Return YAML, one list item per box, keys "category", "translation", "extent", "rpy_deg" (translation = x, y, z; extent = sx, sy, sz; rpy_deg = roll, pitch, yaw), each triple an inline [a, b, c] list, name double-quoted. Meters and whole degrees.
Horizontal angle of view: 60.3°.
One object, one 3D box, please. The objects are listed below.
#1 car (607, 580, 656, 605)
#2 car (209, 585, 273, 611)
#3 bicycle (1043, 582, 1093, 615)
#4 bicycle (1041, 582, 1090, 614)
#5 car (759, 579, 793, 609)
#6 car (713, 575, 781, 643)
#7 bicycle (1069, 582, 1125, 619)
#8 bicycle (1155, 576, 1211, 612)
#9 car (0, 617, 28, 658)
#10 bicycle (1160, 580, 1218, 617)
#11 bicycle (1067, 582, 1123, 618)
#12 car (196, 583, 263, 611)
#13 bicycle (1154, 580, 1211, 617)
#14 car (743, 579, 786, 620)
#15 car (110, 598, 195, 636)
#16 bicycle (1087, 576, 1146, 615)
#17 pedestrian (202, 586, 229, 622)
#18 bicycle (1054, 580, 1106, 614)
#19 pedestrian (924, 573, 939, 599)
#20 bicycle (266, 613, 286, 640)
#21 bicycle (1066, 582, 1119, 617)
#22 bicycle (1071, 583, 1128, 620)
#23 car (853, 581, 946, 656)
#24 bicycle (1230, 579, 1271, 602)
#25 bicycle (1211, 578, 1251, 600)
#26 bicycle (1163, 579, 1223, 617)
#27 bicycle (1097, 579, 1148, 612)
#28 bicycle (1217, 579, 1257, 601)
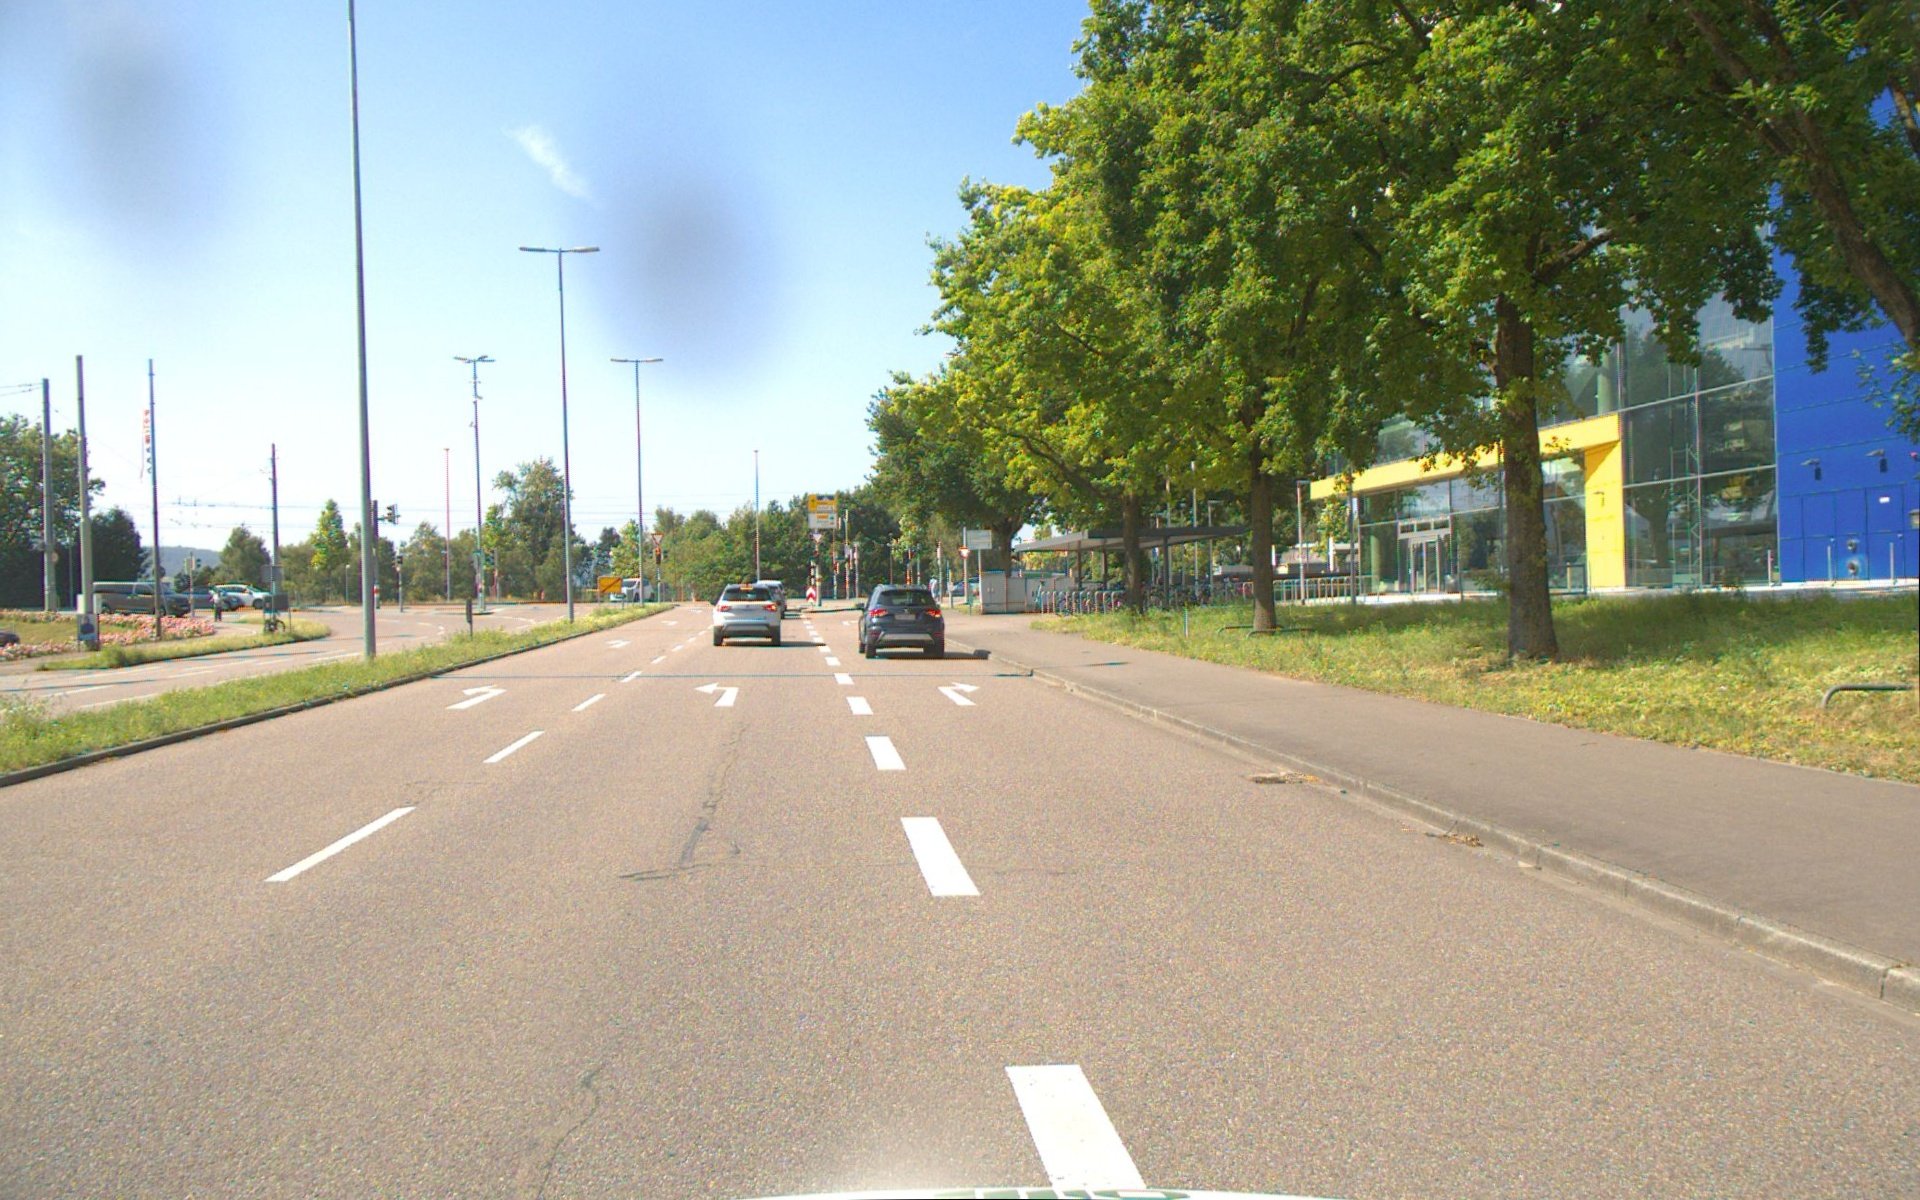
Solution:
- category: "car"
  translation: [-21.988, -0.499, 110.795]
  extent: [1.755, 1.574, 4.090]
  rpy_deg: [-1, 0, 11]
- category: "car"
  translation: [-44.005, -0.113, 101.289]
  extent: [3.283, 1.526, 1.406]
  rpy_deg: [-1, -1, -11]
- category: "bicycle"
  translation: [3.927, -0.052, 60.117]
  extent: [1.725, 1.115, 0.451]
  rpy_deg: [-2, 1, -7]
- category: "bicycle"
  translation: [3.899, -0.060, 61.119]
  extent: [1.725, 1.115, 0.451]
  rpy_deg: [-2, 1, -7]
- category: "car"
  translation: [-9.507, -0.321, 85.665]
  extent: [1.708, 1.473, 4.383]
  rpy_deg: [-1, 1, -6]
- category: "car"
  translation: [-5.447, 0.194, 42.637]
  extent: [1.599, 1.524, 3.866]
  rpy_deg: [-1, 3, -5]
- category: "bicycle"
  translation: [4.455, 0.017, 53.723]
  extent: [1.725, 1.115, 0.451]
  rpy_deg: [-2, 1, -7]
- category: "bicycle"
  translation: [7.308, -0.197, 54.137]
  extent: [1.725, 1.115, 0.451]
  rpy_deg: [-2, 1, -7]
- category: "car"
  translation: [-39.959, 1.549, 66.270]
  extent: [4.108, 1.633, 1.821]
  rpy_deg: [-1, -1, -11]
- category: "bicycle"
  translation: [7.203, -0.051, 52.016]
  extent: [1.725, 1.115, 0.451]
  rpy_deg: [-2, 1, -7]
- category: "bicycle"
  translation: [4.427, 0.006, 54.293]
  extent: [1.725, 1.115, 0.451]
  rpy_deg: [-2, 1, -7]
- category: "car"
  translation: [-43.146, -0.159, 97.726]
  extent: [3.323, 1.526, 1.407]
  rpy_deg: [-2, -1, -9]
- category: "bicycle"
  translation: [7.122, -0.045, 52.901]
  extent: [1.725, 1.115, 0.451]
  rpy_deg: [-2, 1, -7]
- category: "car"
  translation: [-8.376, -0.039, 70.625]
  extent: [1.674, 1.600, 4.167]
  rpy_deg: [-2, 1, -8]
- category: "car"
  translation: [-43.862, 0.895, 89.803]
  extent: [3.902, 1.958, 1.818]
  rpy_deg: [0, 1, 15]
- category: "bicycle"
  translation: [4.783, -0.145, 50.614]
  extent: [1.725, 1.115, 0.451]
  rpy_deg: [-2, 0, -7]
- category: "pedestrian"
  translation: [-37.114, 0.190, 82.500]
  extent: [0.822, 1.736, 0.906]
  rpy_deg: [-2, 1, 6]
- category: "bicycle"
  translation: [4.186, -0.100, 57.876]
  extent: [1.725, 1.115, 0.451]
  rpy_deg: [-2, 1, -7]
- category: "pedestrian"
  translation: [-1.719, -0.859, 99.283]
  extent: [0.756, 1.537, 1.008]
  rpy_deg: [-2, 2, 5]
- category: "bicycle"
  translation: [-26.920, 1.036, 65.111]
  extent: [0.324, 1.040, 1.640]
  rpy_deg: [-3, -1, -10]
- category: "bicycle"
  translation: [4.508, -0.029, 56.428]
  extent: [1.725, 1.115, 0.451]
  rpy_deg: [-2, 1, -7]
- category: "bicycle"
  translation: [4.461, 0.048, 52.831]
  extent: [1.725, 1.115, 0.451]
  rpy_deg: [-2, 1, -7]
- category: "car"
  translation: [-1.358, 0.365, 36.068]
  extent: [1.639, 1.550, 3.370]
  rpy_deg: [-1, 0, -9]
- category: "bicycle"
  translation: [11.427, -0.383, 65.138]
  extent: [1.531, 0.858, 0.433]
  rpy_deg: [-2, 1, -5]
- category: "bicycle"
  translation: [11.072, -0.457, 67.634]
  extent: [1.531, 0.858, 0.433]
  rpy_deg: [-2, 1, -6]
- category: "bicycle"
  translation: [7.173, -0.069, 50.905]
  extent: [1.725, 1.115, 0.451]
  rpy_deg: [-2, 1, -7]
- category: "bicycle"
  translation: [5.796, -0.173, 58.990]
  extent: [1.725, 1.115, 0.451]
  rpy_deg: [-2, 1, -7]
- category: "bicycle"
  translation: [11.178, -0.416, 66.776]
  extent: [1.530, 0.858, 0.433]
  rpy_deg: [-2, 1, -3]
